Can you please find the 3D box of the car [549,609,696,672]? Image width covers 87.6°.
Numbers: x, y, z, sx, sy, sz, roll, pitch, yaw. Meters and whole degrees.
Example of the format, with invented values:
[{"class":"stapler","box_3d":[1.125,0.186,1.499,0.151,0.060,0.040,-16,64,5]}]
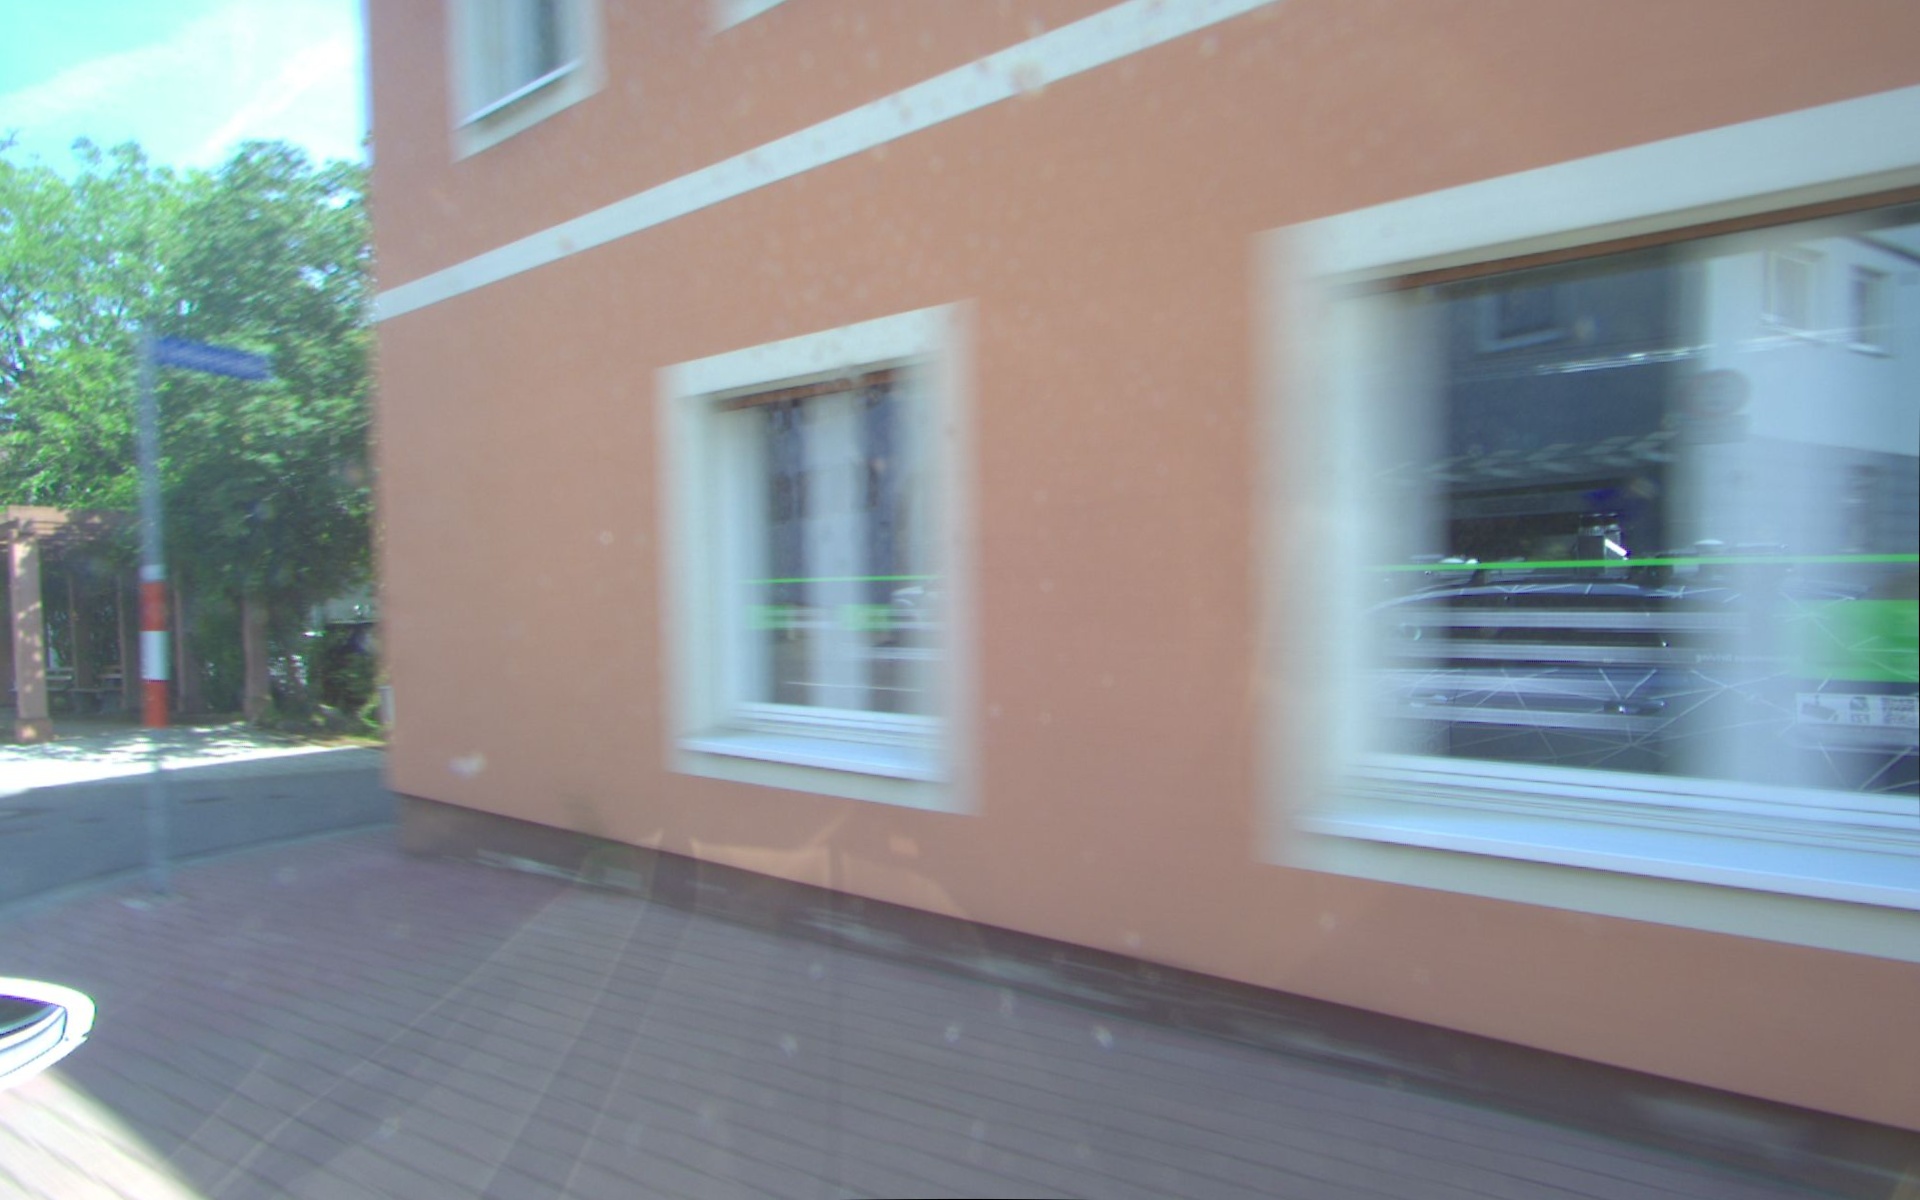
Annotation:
[{"class":"car","box_3d":[-10.563,1.241,31.595,1.857,1.763,4.167,-2,0,31]}]
